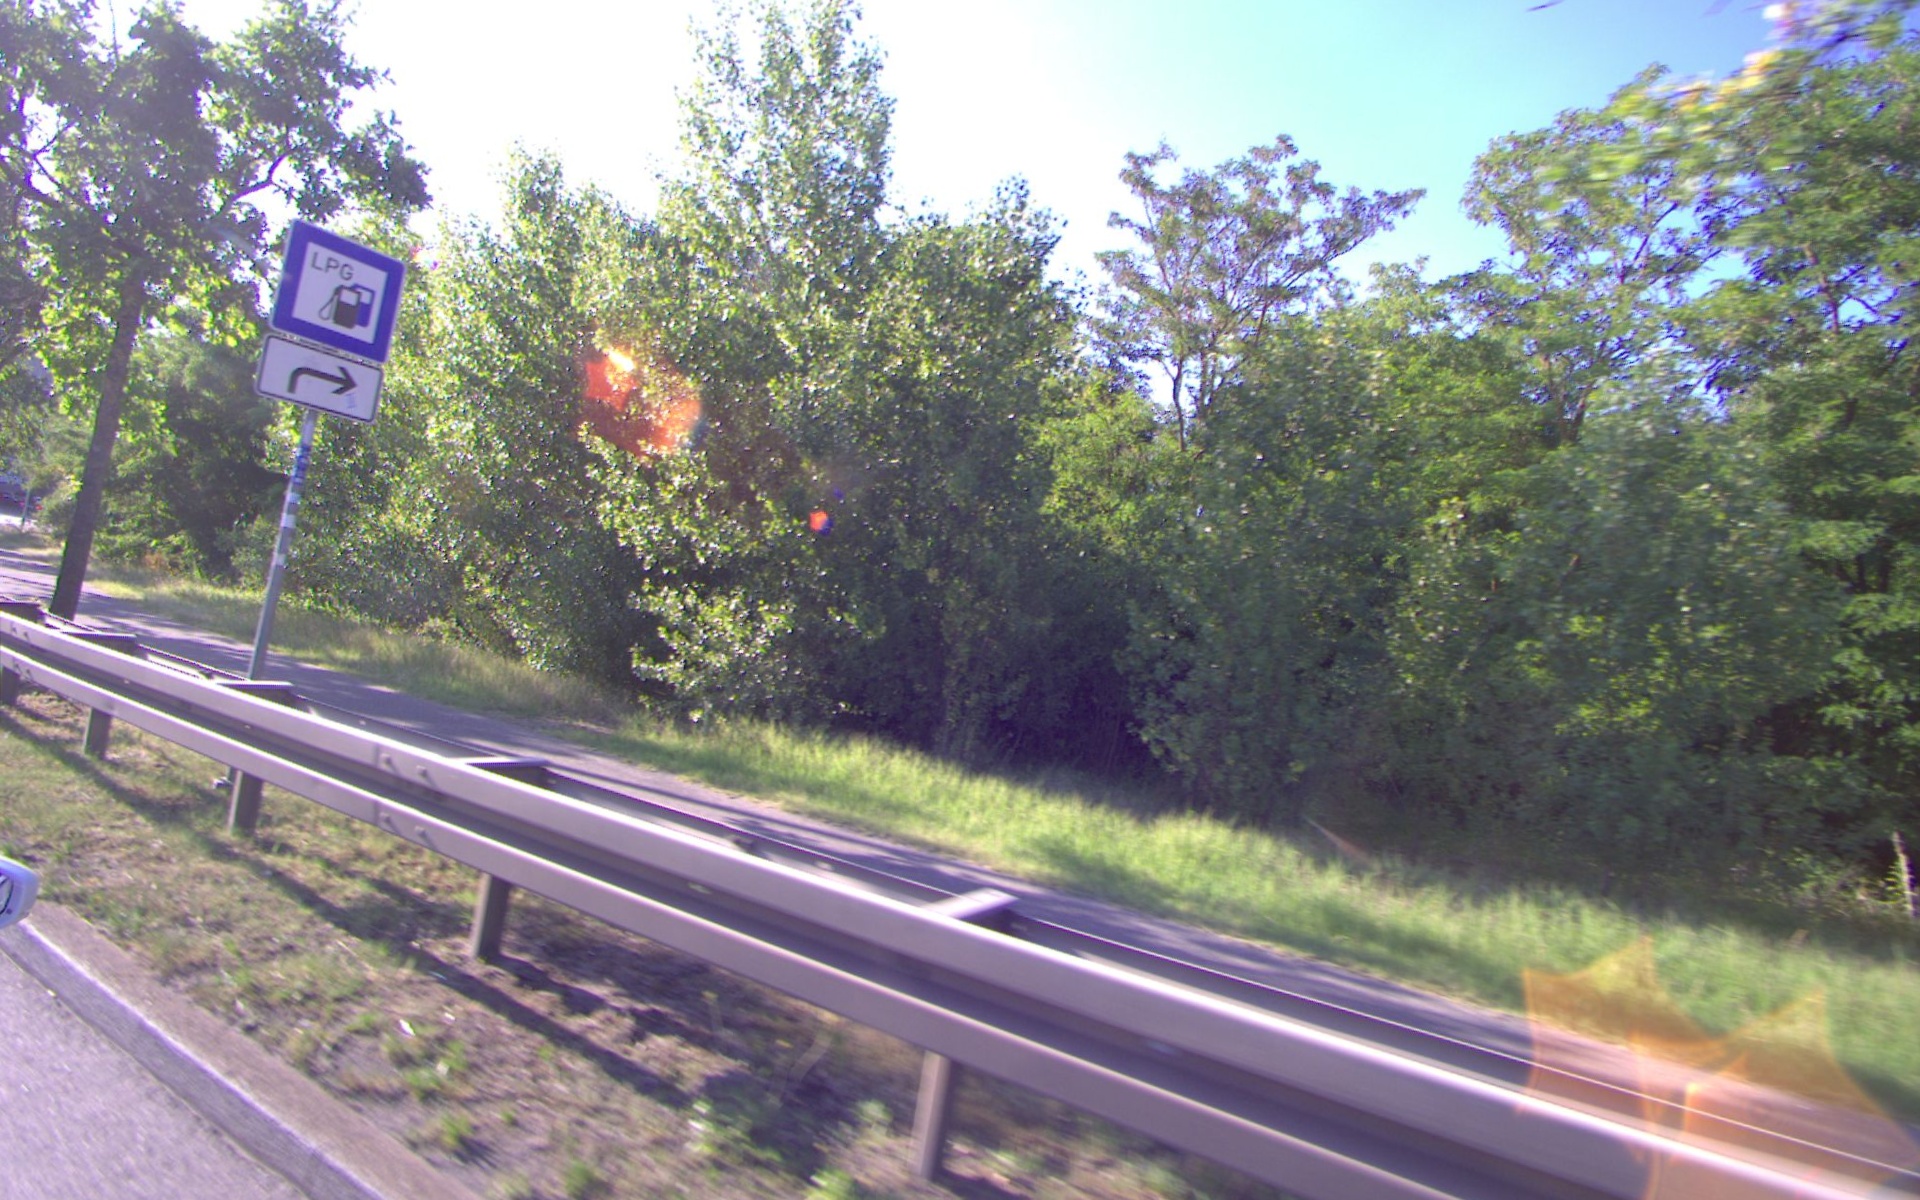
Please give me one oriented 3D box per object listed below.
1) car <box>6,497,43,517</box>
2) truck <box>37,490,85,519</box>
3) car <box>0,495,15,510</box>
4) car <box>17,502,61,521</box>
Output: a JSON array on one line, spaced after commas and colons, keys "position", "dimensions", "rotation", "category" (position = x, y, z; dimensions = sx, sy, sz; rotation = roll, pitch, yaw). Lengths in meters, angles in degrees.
[{"position": [-105.763, -10.441, 113.747], "dimensions": [1.825, 1.739, 3.976], "rotation": [8, -2, -25], "category": "car"}, {"position": [-107.969, -11.459, 120.887], "dimensions": [2.008, 2.583, 5.515], "rotation": [11, -3, -19], "category": "truck"}, {"position": [-103.569, -10.616, 107.979], "dimensions": [1.824, 1.457, 3.656], "rotation": [8, -2, -23], "category": "car"}, {"position": [-94.175, -9.017, 102.925], "dimensions": [1.726, 1.470, 4.580], "rotation": [12, -2, -23], "category": "car"}]
